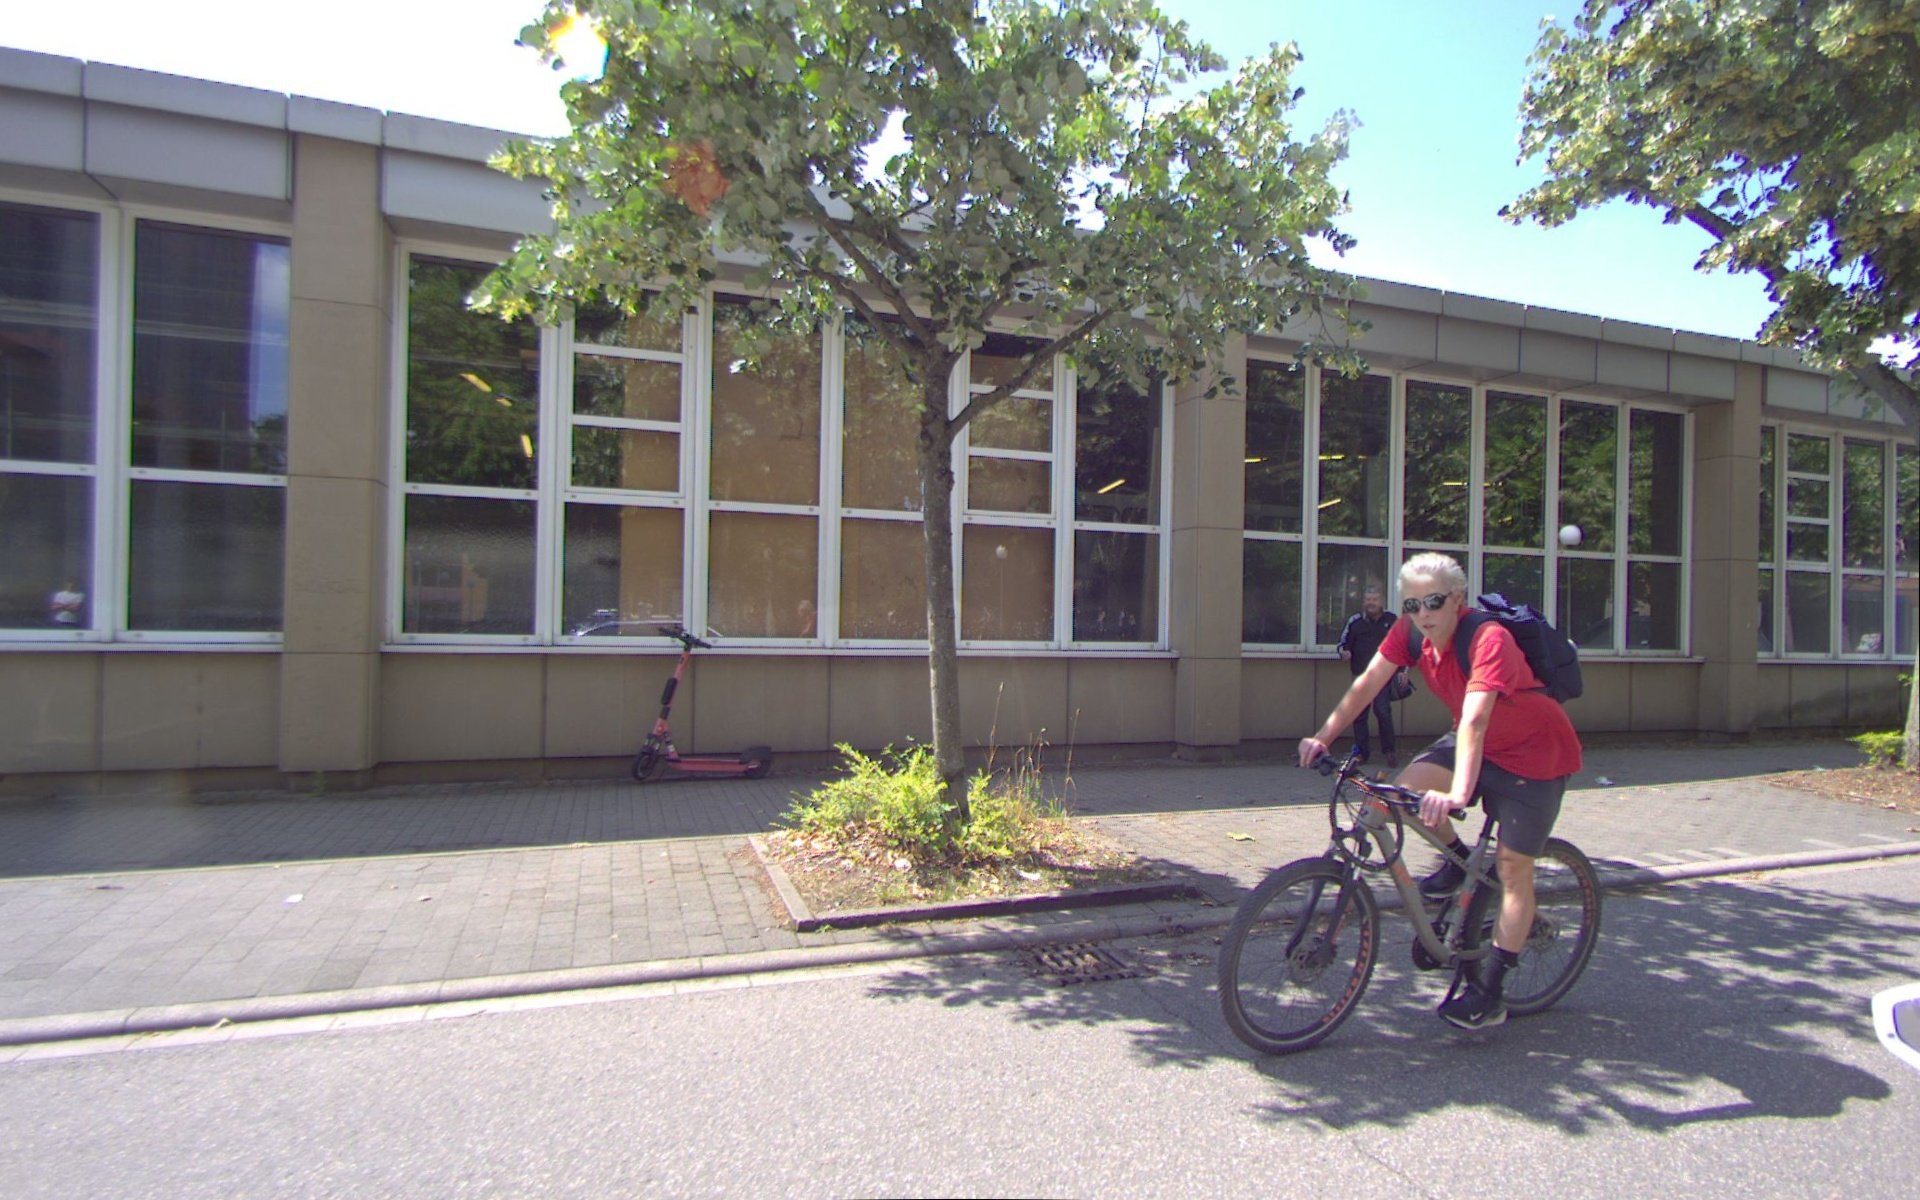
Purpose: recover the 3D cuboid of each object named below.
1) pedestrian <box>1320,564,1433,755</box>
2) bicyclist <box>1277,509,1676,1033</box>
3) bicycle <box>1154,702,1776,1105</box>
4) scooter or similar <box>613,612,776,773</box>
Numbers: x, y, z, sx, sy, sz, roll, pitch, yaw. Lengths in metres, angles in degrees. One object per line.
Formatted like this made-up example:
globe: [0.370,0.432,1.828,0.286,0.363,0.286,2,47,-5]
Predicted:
pedestrian: [4.098,0.567,9.926,0.775,1.811,0.670,1,1,-4]
bicyclist: [1.777,0.533,3.553,0.944,1.563,0.835,2,-2,-17]
bicycle: [1.756,0.975,3.532,1.902,1.055,0.815,5,-2,-19]
scooter or similar: [-2.144,0.724,8.118,1.227,1.223,0.382,1,2,-21]
